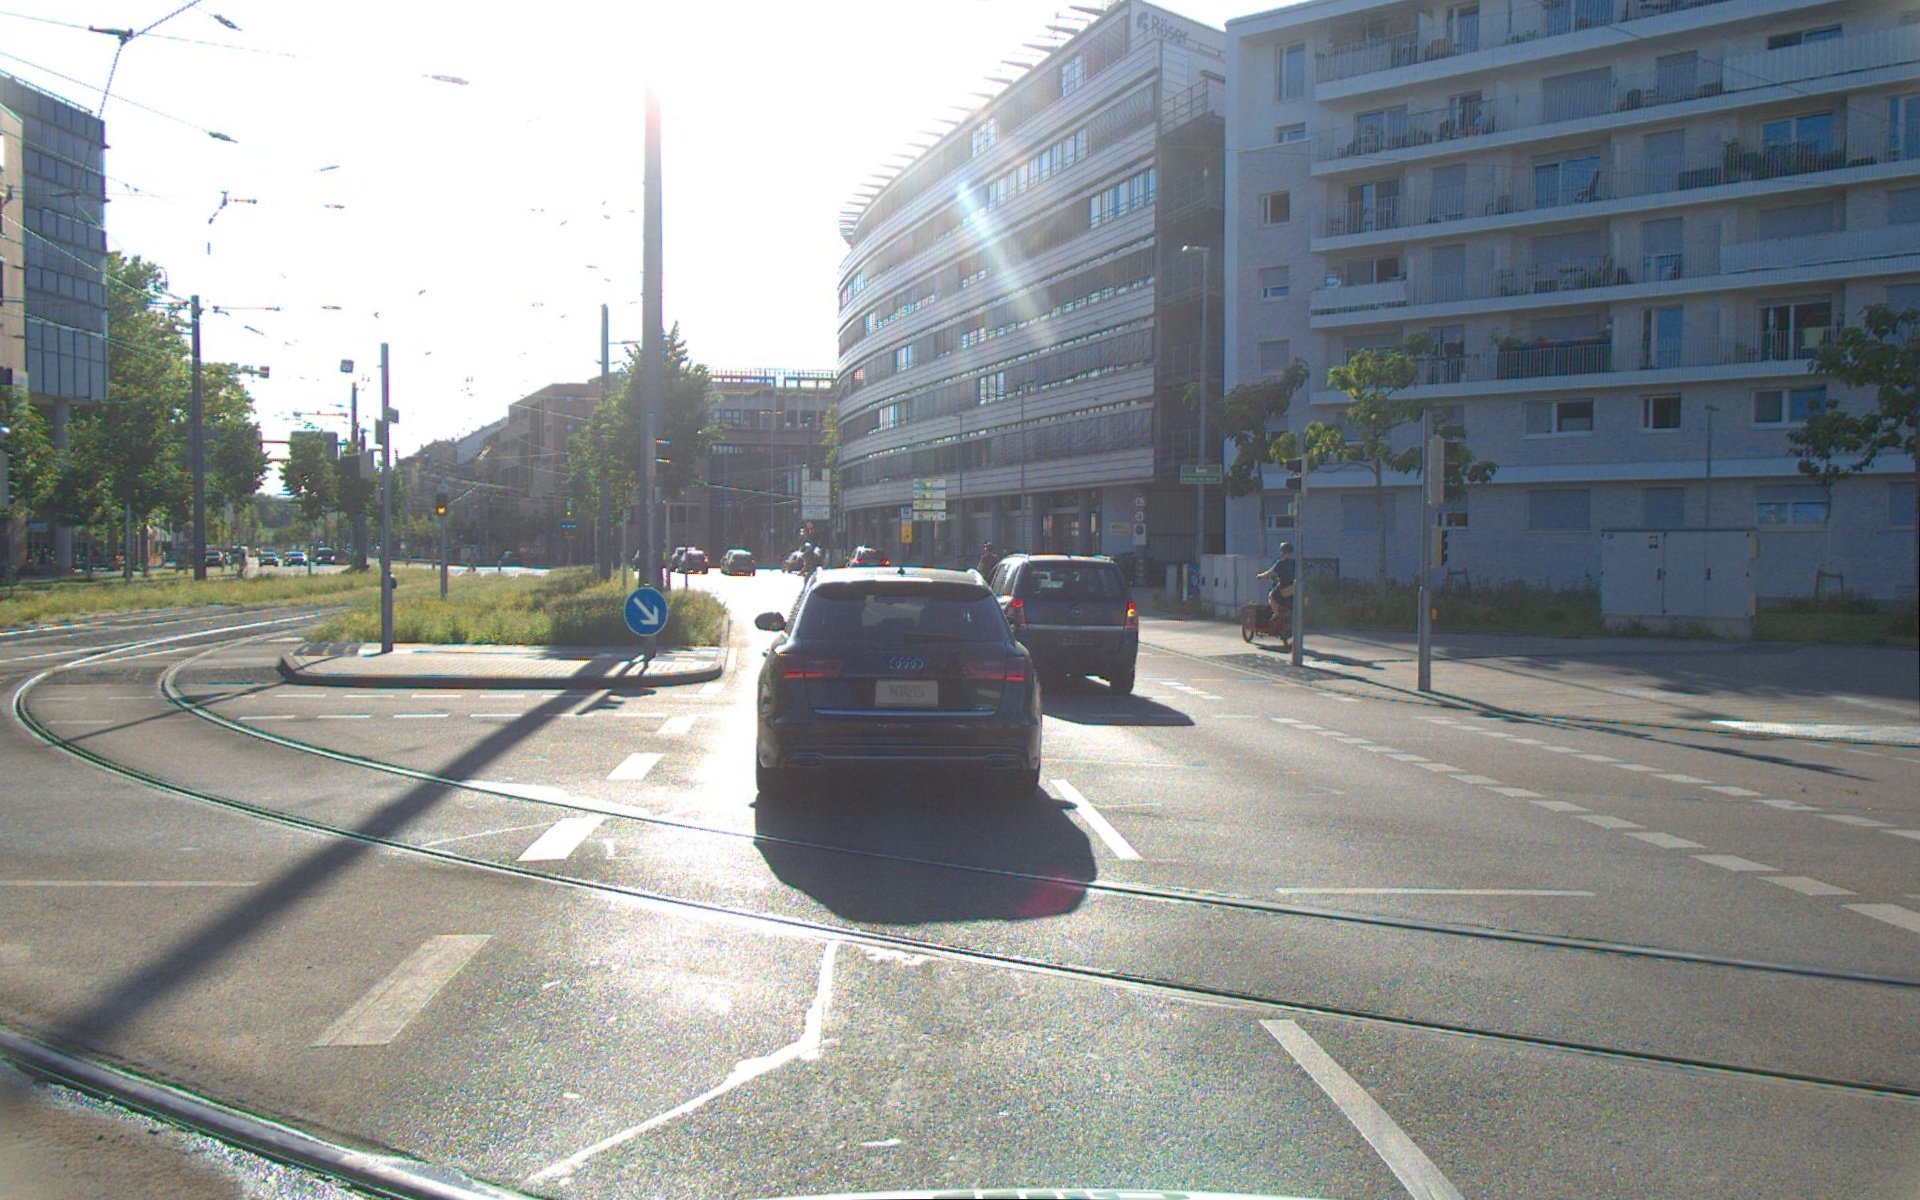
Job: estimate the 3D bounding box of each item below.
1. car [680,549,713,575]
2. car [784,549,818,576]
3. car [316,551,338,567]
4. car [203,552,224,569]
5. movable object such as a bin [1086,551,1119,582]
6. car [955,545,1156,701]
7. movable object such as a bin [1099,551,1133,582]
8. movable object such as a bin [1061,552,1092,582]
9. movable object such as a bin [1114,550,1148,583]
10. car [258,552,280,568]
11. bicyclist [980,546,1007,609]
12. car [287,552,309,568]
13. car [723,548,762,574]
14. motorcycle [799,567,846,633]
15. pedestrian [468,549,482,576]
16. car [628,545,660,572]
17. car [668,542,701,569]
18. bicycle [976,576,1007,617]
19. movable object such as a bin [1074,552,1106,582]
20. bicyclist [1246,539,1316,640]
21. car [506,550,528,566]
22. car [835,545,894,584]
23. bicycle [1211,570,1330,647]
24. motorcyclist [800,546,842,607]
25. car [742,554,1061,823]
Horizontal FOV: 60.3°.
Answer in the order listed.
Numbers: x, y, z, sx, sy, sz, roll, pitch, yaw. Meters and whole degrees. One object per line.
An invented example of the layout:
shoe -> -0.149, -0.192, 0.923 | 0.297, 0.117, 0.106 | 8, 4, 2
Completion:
car -> -17.049, -2.448, 106.989 | 1.958, 1.624, 3.989 | 0, 1, -11
car -> -11.237, -2.629, 116.684 | 1.958, 1.870, 3.989 | 0, 1, -11
car -> -67.944, -4.441, 177.475 | 1.968, 1.713, 3.969 | -1, 2, -25
car -> -76.894, -4.093, 170.296 | 1.968, 1.713, 3.969 | -1, 2, -25
movable object such as a bin -> 6.262, -1.483, 72.752 | 1.046, 1.355, 1.117 | -1, 1, -24
car -> 1.107, 0.205, 21.172 | 1.713, 1.725, 4.254 | 2, 1, -8
movable object such as a bin -> 6.757, -1.452, 71.607 | 1.046, 1.355, 1.117 | -1, 1, -24
movable object such as a bin -> 5.280, -1.487, 74.940 | 1.046, 1.355, 1.117 | -1, 1, -24
movable object such as a bin -> 7.268, -1.423, 70.409 | 1.046, 1.355, 1.117 | -1, 1, -24
car -> -72.653, -4.222, 173.977 | 1.968, 1.713, 3.969 | -1, 2, -25
bicyclist -> 0.907, -0.612, 44.720 | 0.640, 1.671, 0.973 | 1, 2, 7
car -> -70.046, -4.206, 174.893 | 1.968, 1.713, 3.969 | -1, 2, -25
car -> -13.768, -2.441, 104.327 | 1.960, 1.624, 3.984 | 0, 1, -15
motorcycle -> -3.084, -0.023, 36.858 | 0.847, 1.417, 1.889 | 0, 1, -11
pedestrian -> -34.606, -2.675, 118.113 | 0.886, 1.856, 0.826 | -1, 0, -13
car -> -21.546, -2.817, 112.647 | 1.960, 1.735, 3.985 | 0, 1, -14
car -> -18.858, -3.026, 113.113 | 1.960, 1.735, 3.985 | 0, 1, -14
bicycle -> 0.864, -0.105, 44.737 | 0.640, 1.061, 1.931 | 1, 2, 7
movable object such as a bin -> 5.790, -1.474, 73.843 | 1.046, 1.355, 1.117 | -1, 1, -24
bicyclist -> 5.616, -0.193, 28.940 | 0.761, 1.736, 0.917 | 0, 1, -40
car -> -50.111, -4.786, 186.943 | 1.966, 1.735, 3.974 | -1, 1, -22
car -> -4.729, -1.769, 81.513 | 1.970, 1.745, 4.355 | 2, 2, -16
bicycle -> 5.452, 0.125, 29.134 | 0.761, 1.284, 2.052 | 0, 2, -39
motorcyclist -> -3.105, -0.522, 36.848 | 0.847, 1.349, 0.679 | 0, 1, -11
car -> -0.301, 0.458, 11.617 | 1.804, 1.479, 4.001 | 2, 2, 1
